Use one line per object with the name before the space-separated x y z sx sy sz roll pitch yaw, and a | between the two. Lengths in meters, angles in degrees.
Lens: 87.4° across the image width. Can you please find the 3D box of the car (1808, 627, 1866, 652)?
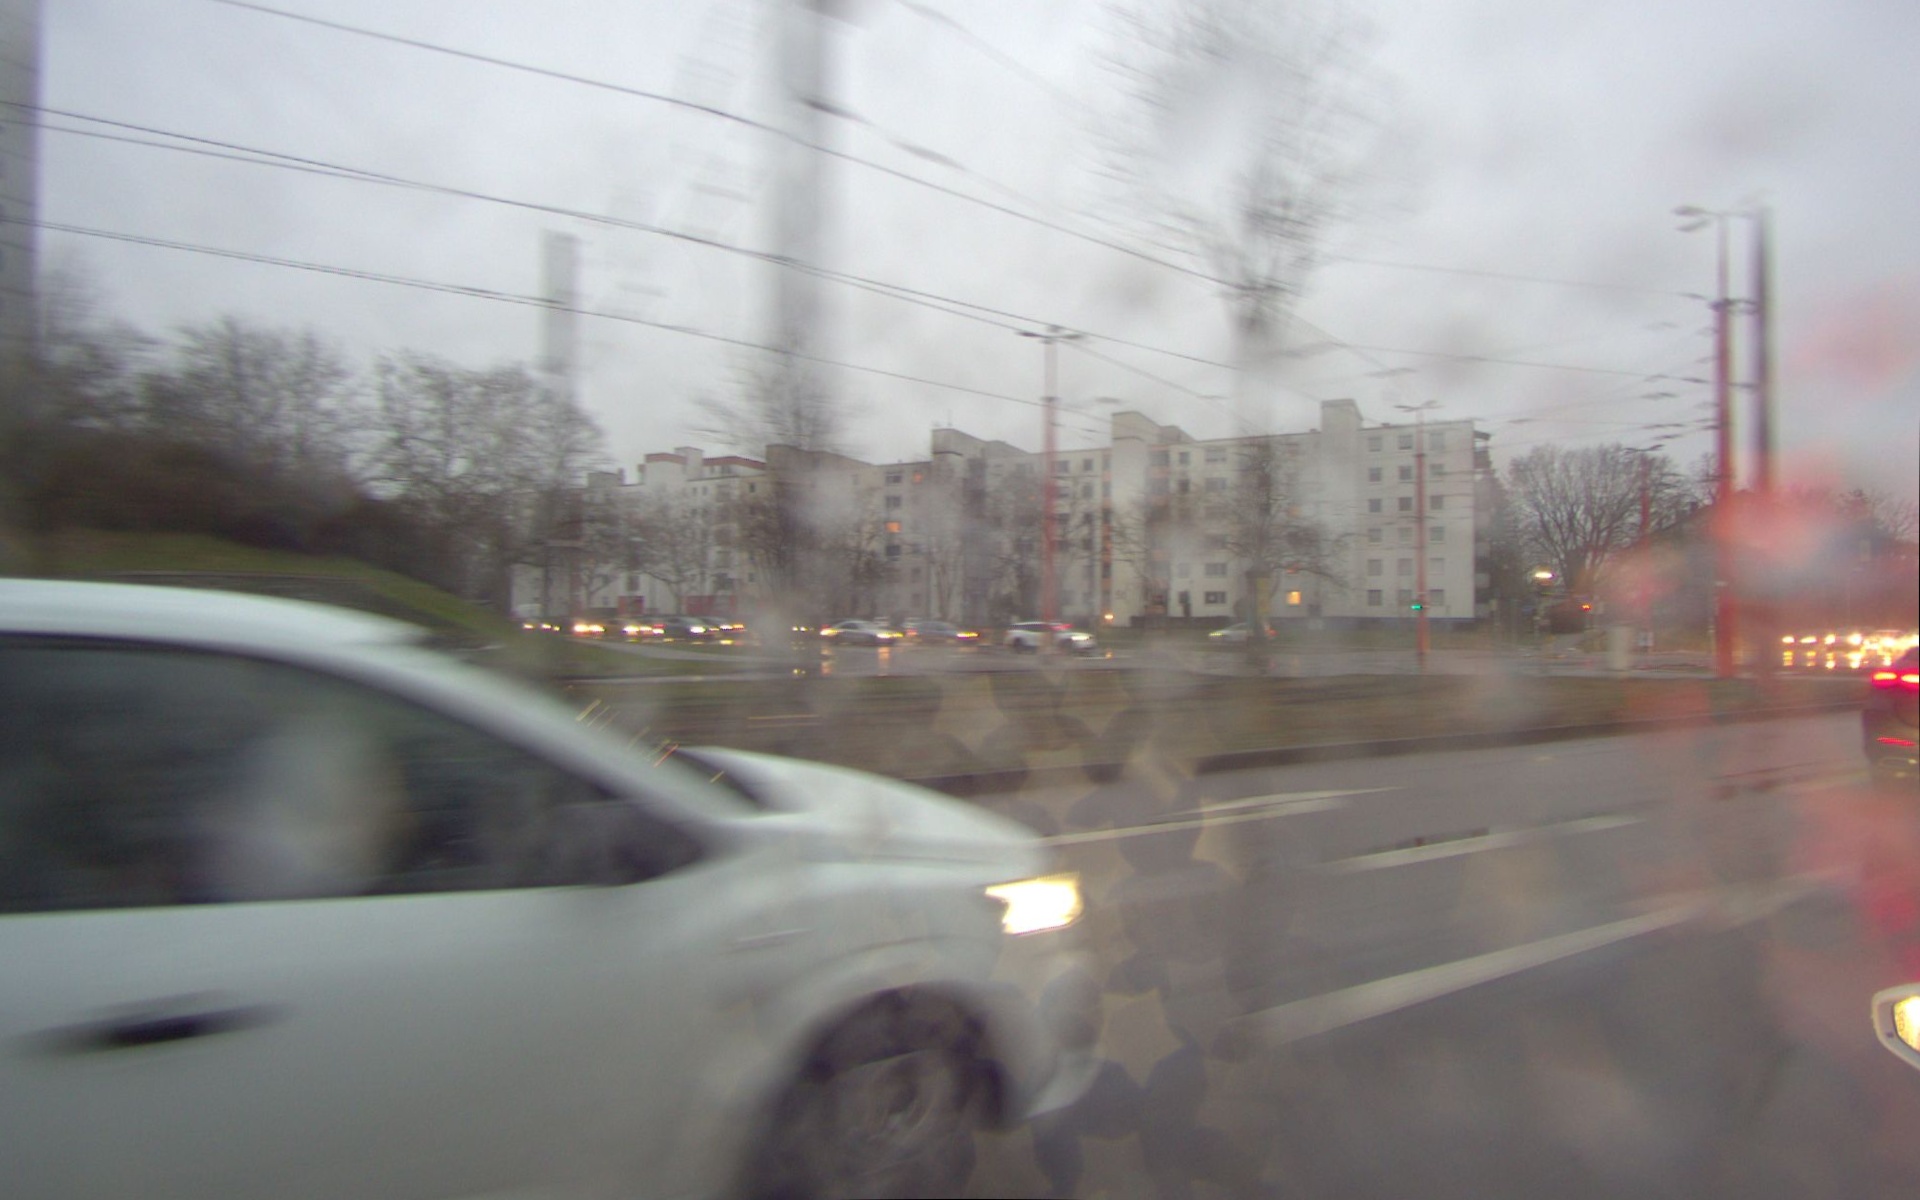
car | 55.001 2.480 62.963 3.970 1.515 1.610 1 -1 -31

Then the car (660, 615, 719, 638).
car | -18.431 1.791 68.490 3.932 1.565 1.708 -1 -2 33

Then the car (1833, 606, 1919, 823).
car | 9.481 0.922 8.537 4.414 1.670 1.814 1 -1 -30

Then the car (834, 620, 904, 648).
car | -5.443 2.009 59.961 3.932 1.565 1.708 -1 -2 33

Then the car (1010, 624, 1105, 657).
car | 4.812 1.981 49.957 4.365 1.565 1.847 -1 -2 33

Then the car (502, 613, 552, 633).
car | -33.903 1.786 78.586 3.913 1.565 1.708 -1 -2 33

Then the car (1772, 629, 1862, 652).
car | 60.045 2.840 70.448 4.394 1.550 2.001 0 -1 8

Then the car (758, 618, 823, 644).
car | -10.718 1.942 63.366 3.932 1.565 1.708 -1 -2 33

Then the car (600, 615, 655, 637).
car | -23.956 1.845 72.393 3.932 1.565 1.708 -1 -2 33

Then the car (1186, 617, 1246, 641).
car | 18.300 2.081 71.890 3.926 1.661 1.535 0 -1 27

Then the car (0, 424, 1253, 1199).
car | -1.414 0.608 2.343 4.099 1.670 1.705 1 -1 -31

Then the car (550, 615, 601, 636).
car | -28.867 1.899 75.431 3.760 1.565 1.708 -1 -2 33
